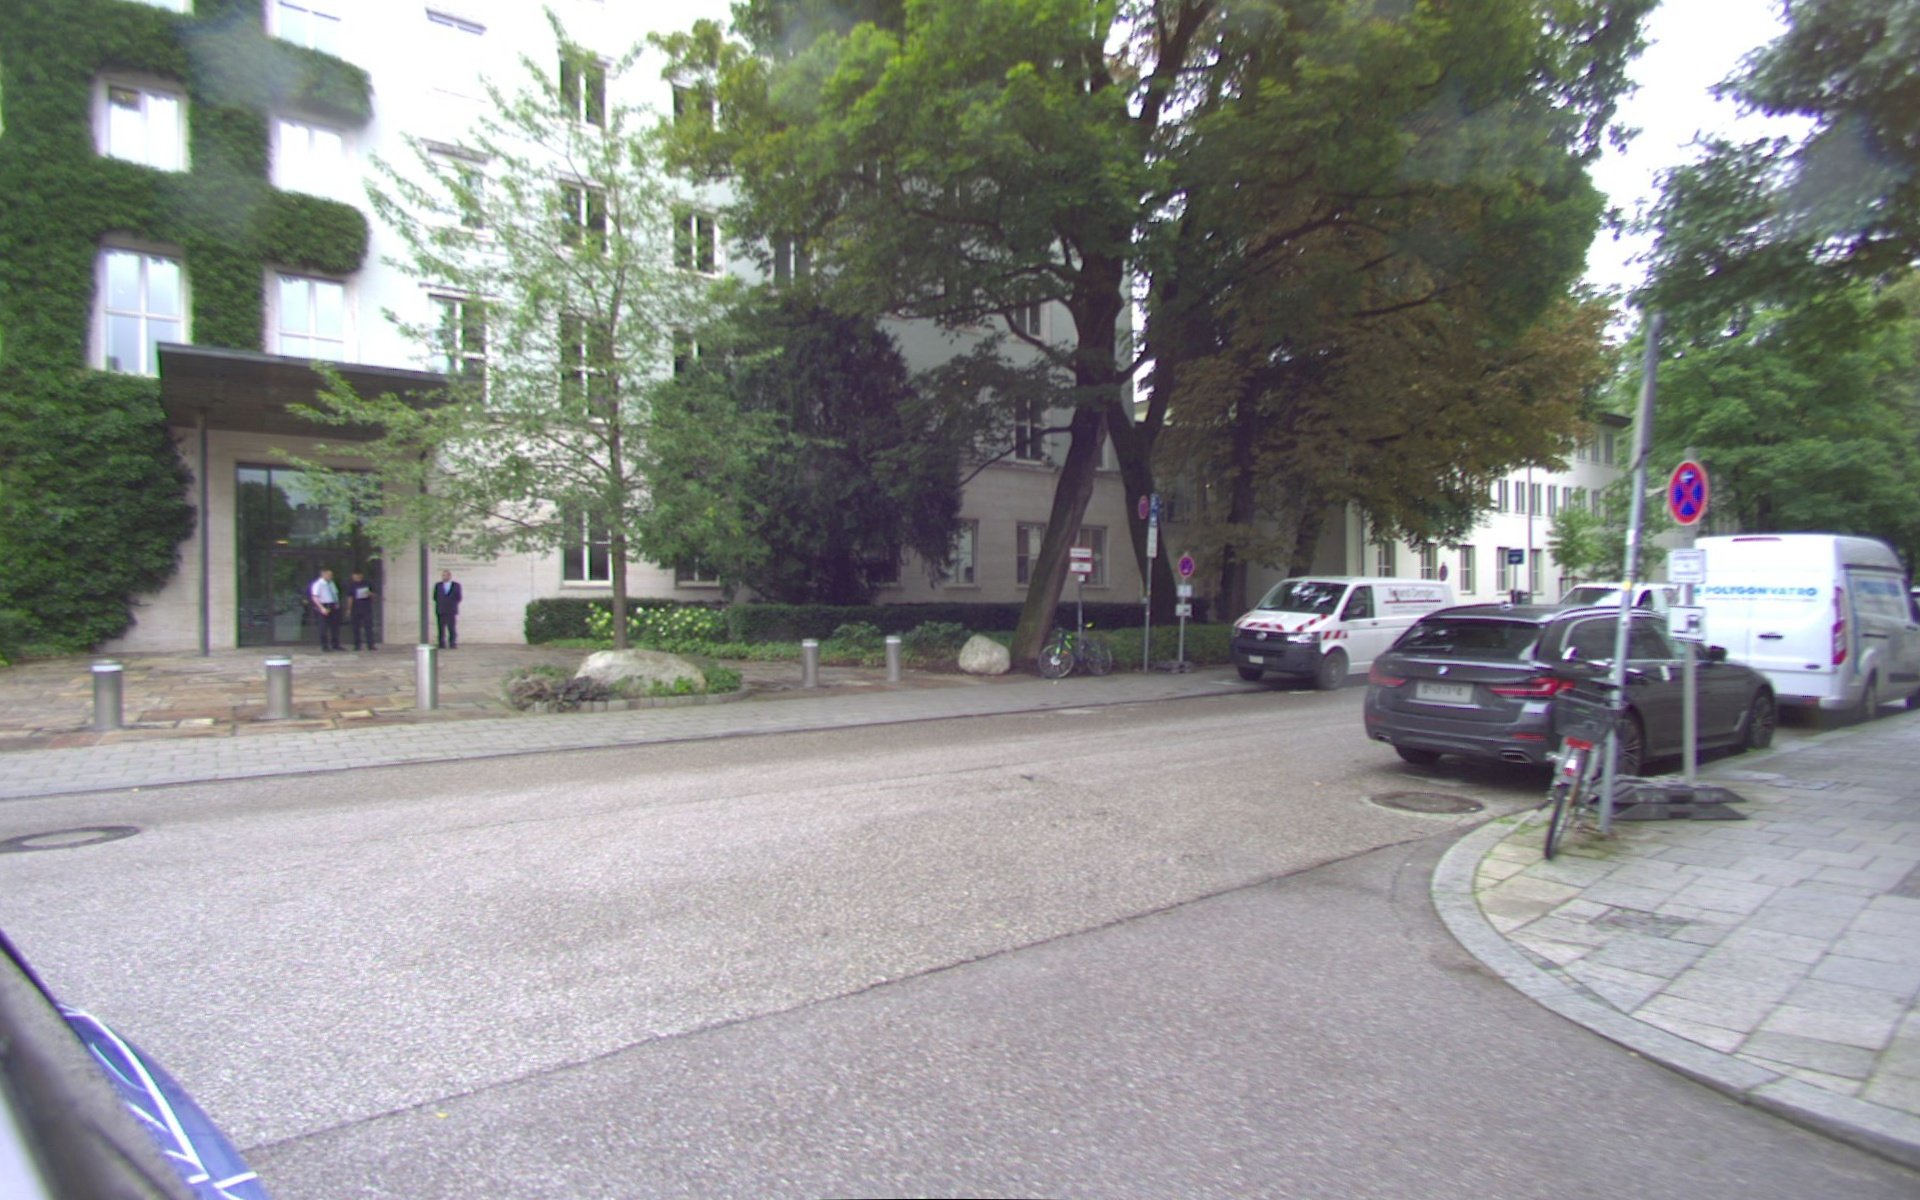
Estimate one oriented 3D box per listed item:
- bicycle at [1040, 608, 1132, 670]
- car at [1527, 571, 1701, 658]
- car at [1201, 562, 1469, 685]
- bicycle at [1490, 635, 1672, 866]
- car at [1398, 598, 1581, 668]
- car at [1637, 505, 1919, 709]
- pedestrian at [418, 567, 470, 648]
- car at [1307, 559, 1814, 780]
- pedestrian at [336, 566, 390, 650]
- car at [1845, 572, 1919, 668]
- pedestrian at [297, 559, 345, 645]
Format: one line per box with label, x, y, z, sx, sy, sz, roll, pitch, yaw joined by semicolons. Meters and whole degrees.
bicycle;2.400;0.717;19.152;1.737;1.111;0.636;0;1;-34
car;16.537;0.292;25.475;5.084;1.971;2.195;-1;1;-39
car;7.097;0.342;18.857;5.366;1.971;2.259;-1;1;-39
bicycle;3.787;0.782;6.077;0.655;1.036;2.174;-2;0;38
car;11.736;0.662;22.384;3.885;1.339;2.224;-1;1;-39
car;11.164;0.106;13.374;4.776;2.225;2.215;0;-2;-38
pedestrian;-11.624;0.173;22.808;0.887;1.766;0.754;1;-1;-40
car;5.623;0.519;9.353;4.510;1.558;2.286;0;-2;-34
pedestrian;-12.935;0.180;21.934;0.887;1.766;0.754;1;-1;-40
car;18.180;0.337;18.519;4.246;1.642;2.149;0;-2;-38
pedestrian;-13.393;0.038;21.210;0.740;1.766;0.903;-1;0;-39
